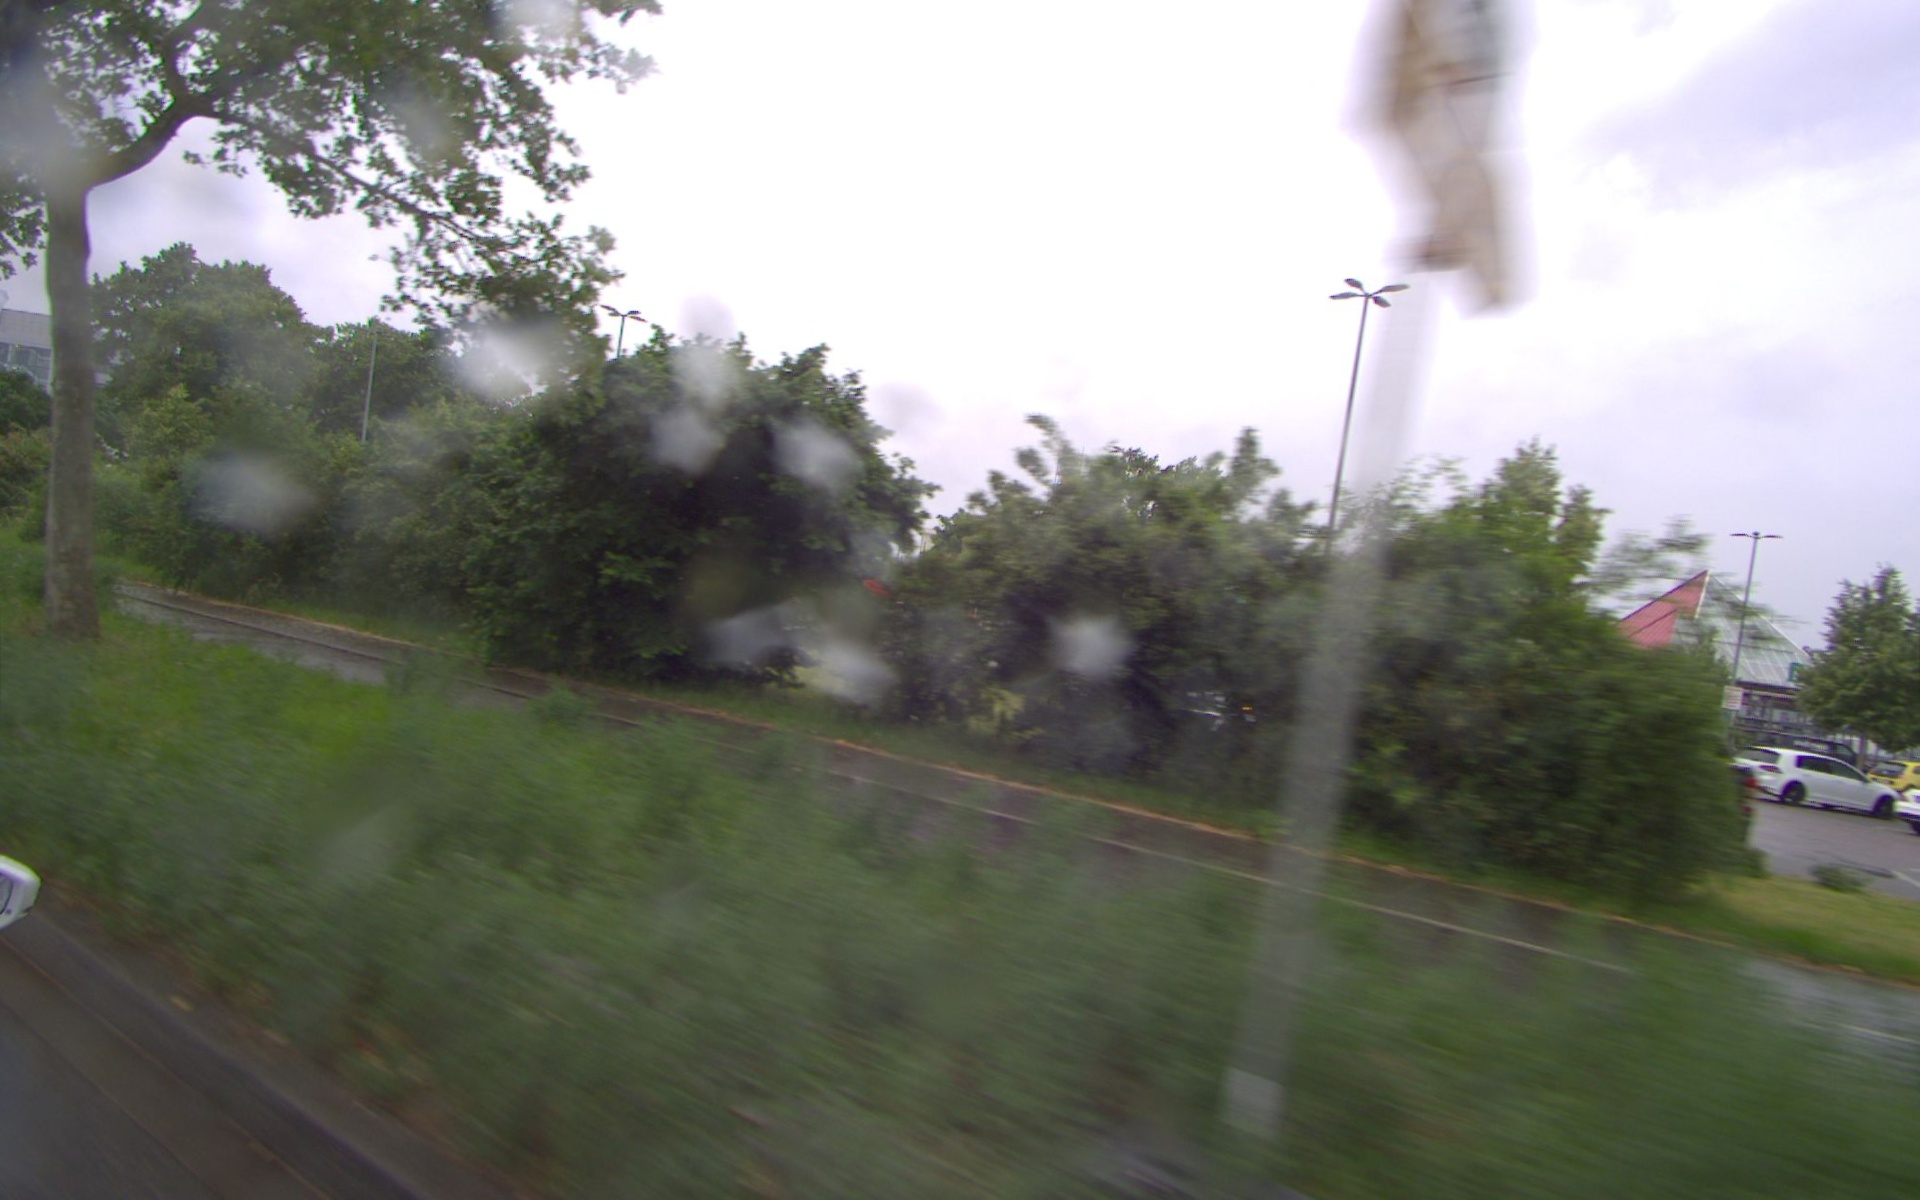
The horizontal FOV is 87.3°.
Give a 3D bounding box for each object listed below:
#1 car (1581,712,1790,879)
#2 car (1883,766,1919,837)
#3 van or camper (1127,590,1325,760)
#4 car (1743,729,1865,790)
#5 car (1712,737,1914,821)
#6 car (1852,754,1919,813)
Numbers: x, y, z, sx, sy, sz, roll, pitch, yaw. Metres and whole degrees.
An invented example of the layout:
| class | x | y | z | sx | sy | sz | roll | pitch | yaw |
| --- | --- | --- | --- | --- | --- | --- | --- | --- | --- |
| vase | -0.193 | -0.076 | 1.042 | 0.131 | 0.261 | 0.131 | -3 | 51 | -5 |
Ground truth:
| class | x | y | z | sx | sy | sz | roll | pitch | yaw |
| --- | --- | --- | --- | --- | --- | --- | --- | --- | --- |
| car | 10.336 | 2.666 | 14.651 | 1.849 | 1.774 | 3.996 | 8 | -2 | 30 |
| car | 23.745 | 4.893 | 22.800 | 4.002 | 1.496 | 1.785 | 8 | -1 | -3 |
| van or camper | 5.389 | 1.519 | 19.516 | 1.966 | 2.573 | 6.378 | 7 | -2 | 29 |
| car | 38.750 | 7.298 | 46.242 | 3.929 | 2.037 | 1.899 | 8 | -1 | -3 |
| car | 23.389 | 4.894 | 27.682 | 4.002 | 1.496 | 1.785 | 8 | -1 | -3 |
| car | 40.074 | 7.810 | 41.970 | 3.929 | 2.037 | 1.899 | 8 | -1 | -3 |
